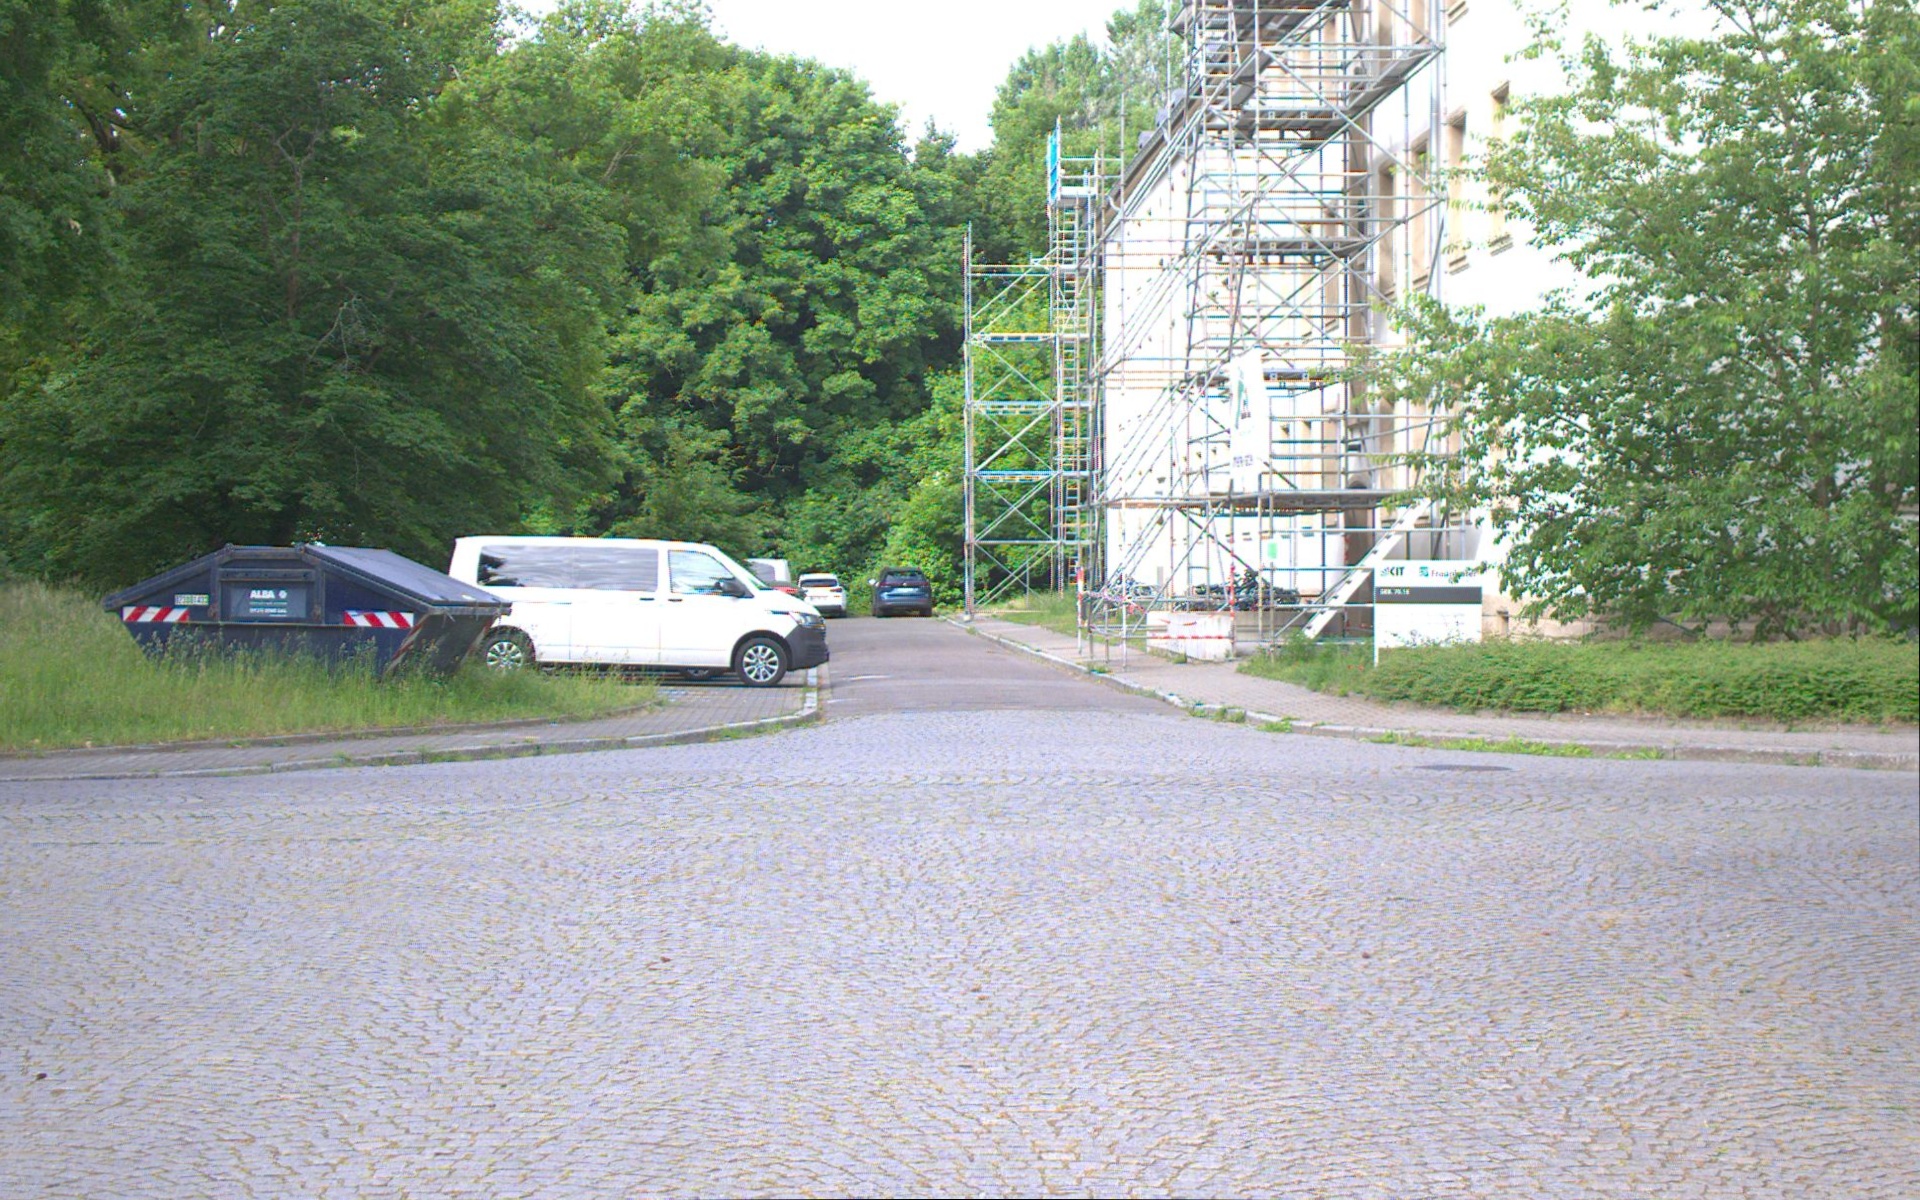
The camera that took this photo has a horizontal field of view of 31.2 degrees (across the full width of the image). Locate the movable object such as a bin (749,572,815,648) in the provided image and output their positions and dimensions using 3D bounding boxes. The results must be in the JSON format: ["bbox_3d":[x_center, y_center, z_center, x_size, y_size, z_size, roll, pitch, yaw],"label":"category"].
[{"bbox_3d":[-3.437,0.185,66.336,1.183,1.402,0.975,3,-1,-1],"label":"movable object such as a bin"}]

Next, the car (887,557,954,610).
[{"bbox_3d":[-1.274,-0.530,112.872,2.063,1.588,4.000,3,0,0],"label":"car"}]

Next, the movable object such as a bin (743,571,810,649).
[{"bbox_3d":[-3.470,0.188,65.202,1.183,1.402,0.975,3,-1,-1],"label":"movable object such as a bin"}]

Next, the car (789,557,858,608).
[{"bbox_3d":[-4.485,-0.564,112.626,2.001,1.542,3.959,3,0,-5],"label":"car"}]

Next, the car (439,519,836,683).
[{"bbox_3d":[-4.314,0.019,46.614,5.200,2.053,2.188,1,0,-3],"label":"car"}]

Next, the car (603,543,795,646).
[{"bbox_3d":[-5.648,-0.105,74.078,3.986,2.007,1.922,3,0,-6],"label":"car"}]
